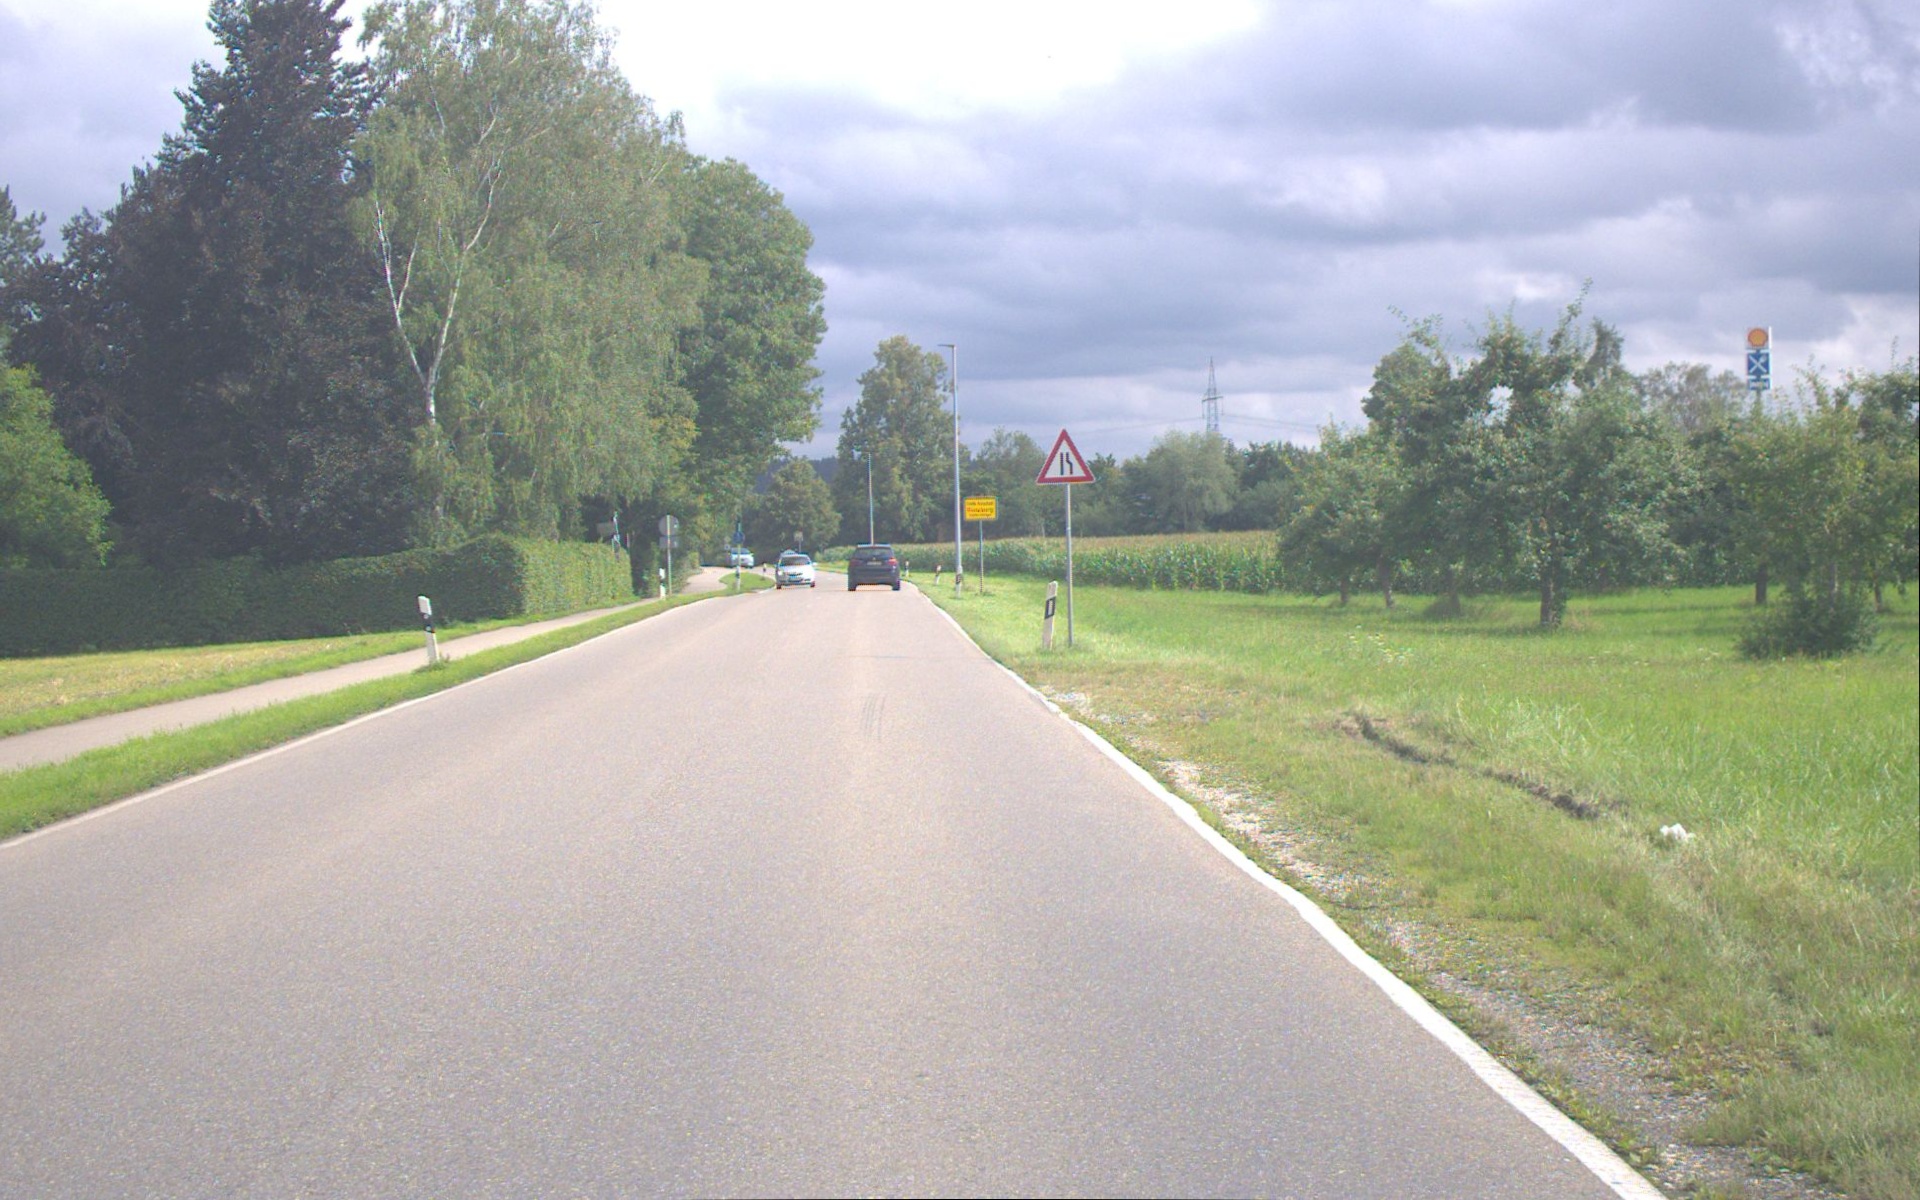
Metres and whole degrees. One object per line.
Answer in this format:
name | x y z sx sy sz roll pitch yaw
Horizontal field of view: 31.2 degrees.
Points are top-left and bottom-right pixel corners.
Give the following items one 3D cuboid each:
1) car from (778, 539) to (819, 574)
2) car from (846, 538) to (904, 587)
car | -7.045 -1.911 150.107 1.695 1.454 3.543 -1 1 -1
car | -3.083 -1.348 124.010 1.906 1.660 4.001 -2 1 -3
